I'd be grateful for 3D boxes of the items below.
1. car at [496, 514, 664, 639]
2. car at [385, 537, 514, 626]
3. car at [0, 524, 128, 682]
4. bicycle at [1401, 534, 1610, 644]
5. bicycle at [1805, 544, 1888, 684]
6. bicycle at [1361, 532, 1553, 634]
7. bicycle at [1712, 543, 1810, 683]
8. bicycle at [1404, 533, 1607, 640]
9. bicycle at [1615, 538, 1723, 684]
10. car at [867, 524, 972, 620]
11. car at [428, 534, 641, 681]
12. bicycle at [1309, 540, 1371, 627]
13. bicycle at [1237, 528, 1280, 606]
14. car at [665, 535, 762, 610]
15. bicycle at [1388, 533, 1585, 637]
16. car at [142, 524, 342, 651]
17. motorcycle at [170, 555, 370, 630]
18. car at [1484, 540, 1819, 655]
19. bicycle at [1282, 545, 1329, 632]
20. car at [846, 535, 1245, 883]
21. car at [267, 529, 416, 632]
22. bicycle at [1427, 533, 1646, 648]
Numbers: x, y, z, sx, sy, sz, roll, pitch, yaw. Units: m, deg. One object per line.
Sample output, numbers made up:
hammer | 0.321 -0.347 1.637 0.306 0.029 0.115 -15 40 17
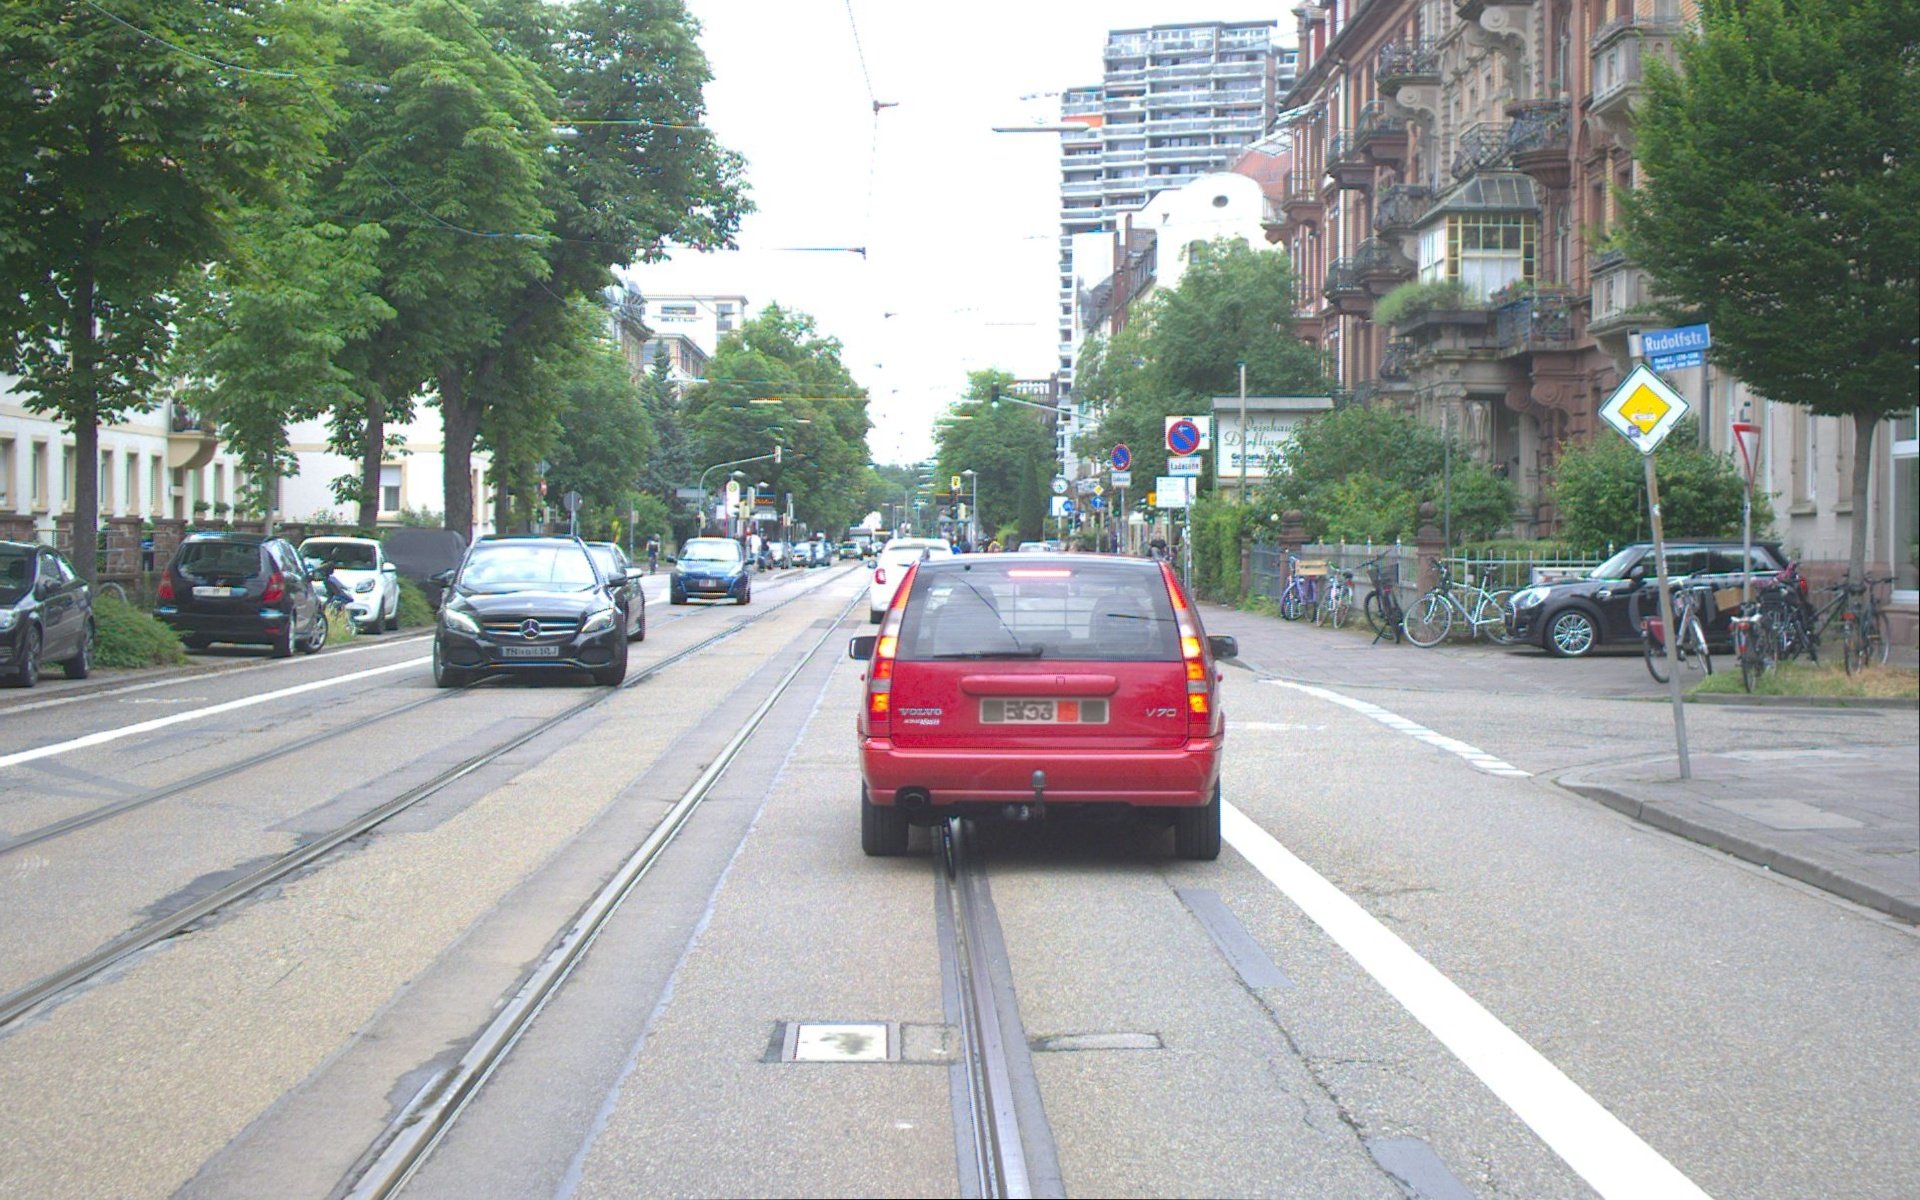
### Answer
car | -5.200 -0.352 47.553 1.894 1.605 4.500 1 1 -1
car | -9.004 -0.353 60.847 1.720 1.481 4.000 1 1 -1
car | -9.706 -0.019 34.426 1.718 1.477 4.000 1 1 1
bicycle | 8.329 -0.178 52.587 2.975 1.619 1.050 1 1 -3
bicycle | 9.937 0.138 38.485 0.790 1.501 2.379 1 1 16
bicycle | 8.233 -0.283 57.044 2.975 1.619 1.050 1 1 -3
bicycle | 8.962 0.121 38.394 0.918 1.501 2.379 1 1 16
bicycle | 8.567 -0.220 54.064 2.975 1.619 1.050 1 1 -3
bicycle | 7.642 0.094 36.962 0.918 1.501 2.379 1 1 16
car | -0.692 -0.524 61.468 1.719 1.619 3.941 1 1 1
car | -4.254 0.036 34.879 1.755 1.375 4.027 1 1 -2
bicycle | 5.796 -0.258 52.554 0.708 1.296 1.904 1 1 -1
bicycle | 5.749 -0.645 66.252 0.555 1.453 2.985 1 1 0
car | -5.565 -0.638 78.043 1.894 1.605 4.500 2 1 -1
bicycle | 8.532 -0.254 55.800 2.975 1.619 1.050 1 1 -3
car | -9.409 -0.196 45.314 1.851 1.557 3.943 1 1 -1
motorcycle | -10.337 -0.116 51.600 2.869 1.073 1.100 0 1 -7
car | 8.589 -0.055 42.936 3.988 1.357 1.891 1 1 10
bicycle | 5.650 -0.200 56.280 0.551 1.395 1.734 1 1 -1
car | 0.342 0.440 16.816 1.689 1.436 3.743 2 1 -1
car | -10.137 -0.351 56.604 1.713 1.575 4.000 2 1 -1
bicycle | 8.412 -0.147 50.240 2.975 1.619 1.050 1 1 -3
